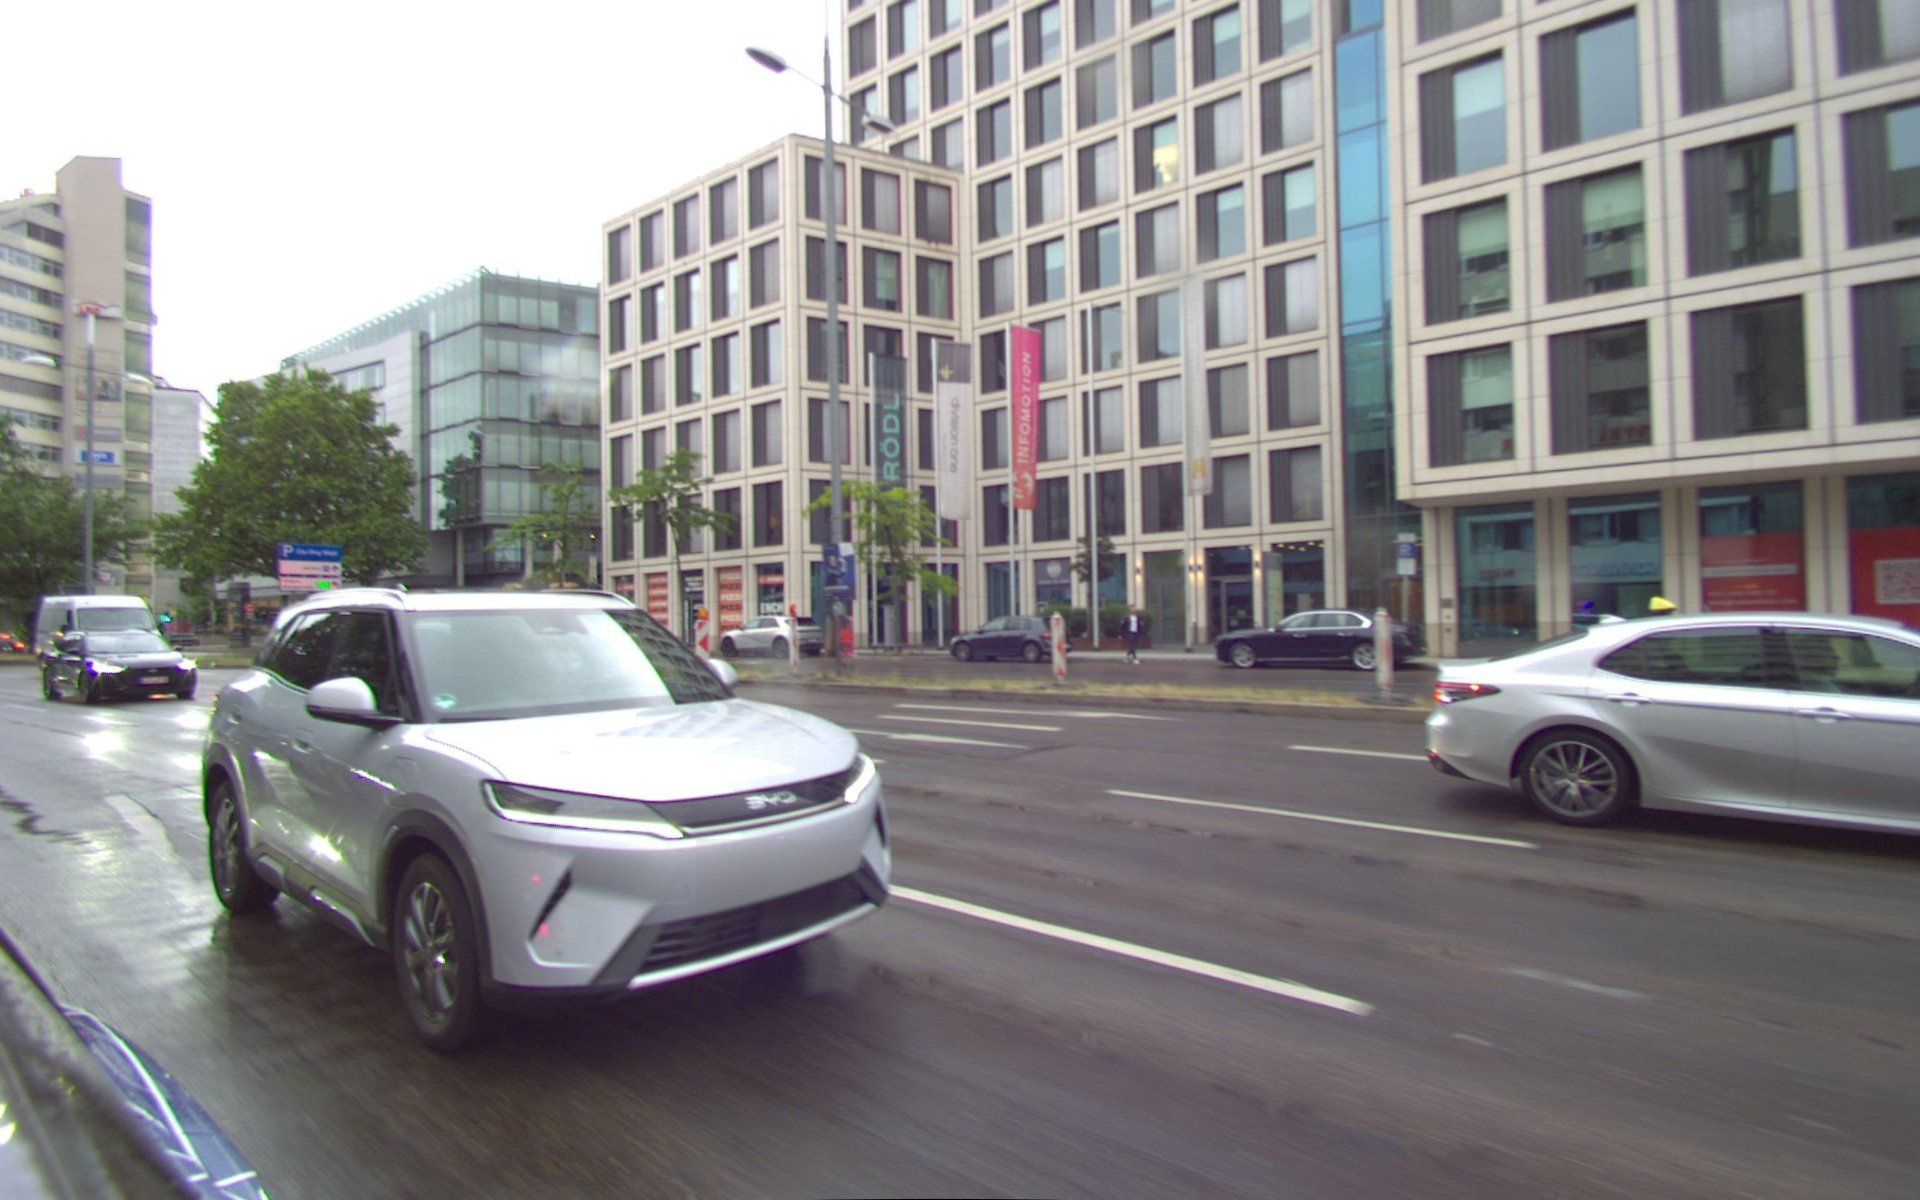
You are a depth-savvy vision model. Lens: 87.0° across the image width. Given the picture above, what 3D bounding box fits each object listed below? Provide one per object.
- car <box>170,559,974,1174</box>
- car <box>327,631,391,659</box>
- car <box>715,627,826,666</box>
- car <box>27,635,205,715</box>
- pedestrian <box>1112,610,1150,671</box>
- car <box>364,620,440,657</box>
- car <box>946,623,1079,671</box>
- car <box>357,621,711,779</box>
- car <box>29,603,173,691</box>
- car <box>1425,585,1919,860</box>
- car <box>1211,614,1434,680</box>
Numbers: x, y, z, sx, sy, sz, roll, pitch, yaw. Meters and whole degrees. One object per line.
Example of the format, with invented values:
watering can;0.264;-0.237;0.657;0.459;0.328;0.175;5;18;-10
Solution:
car;-2.109;0.749;4.805;4.167;1.673;1.790;-1;0;40
car;-36.576;2.715;61.548;4.277;1.541;1.782;-1;0;36
car;-7.325;1.769;38.947;4.365;1.435;1.682;-2;-3;36
car;-17.623;1.489;21.082;4.233;1.412;1.883;-1;0;36
pedestrian;5.028;1.171;29.851;0.604;1.747;0.970;-1;0;-29
car;-32.257;2.199;58.468;4.905;2.029;1.976;-1;0;36
car;1.633;1.473;32.112;3.948;1.435;1.682;-2;-3;36
car;-4.979;1.014;11.675;4.115;1.490;1.756;-1;0;33
car;-25.960;1.346;30.501;5.712;2.403;2.232;-1;0;38
car;5.778;0.677;6.451;4.798;1.533;1.812;-1;0;41
car;9.287;1.200;26.216;5.173;1.581;1.682;-2;-3;36
